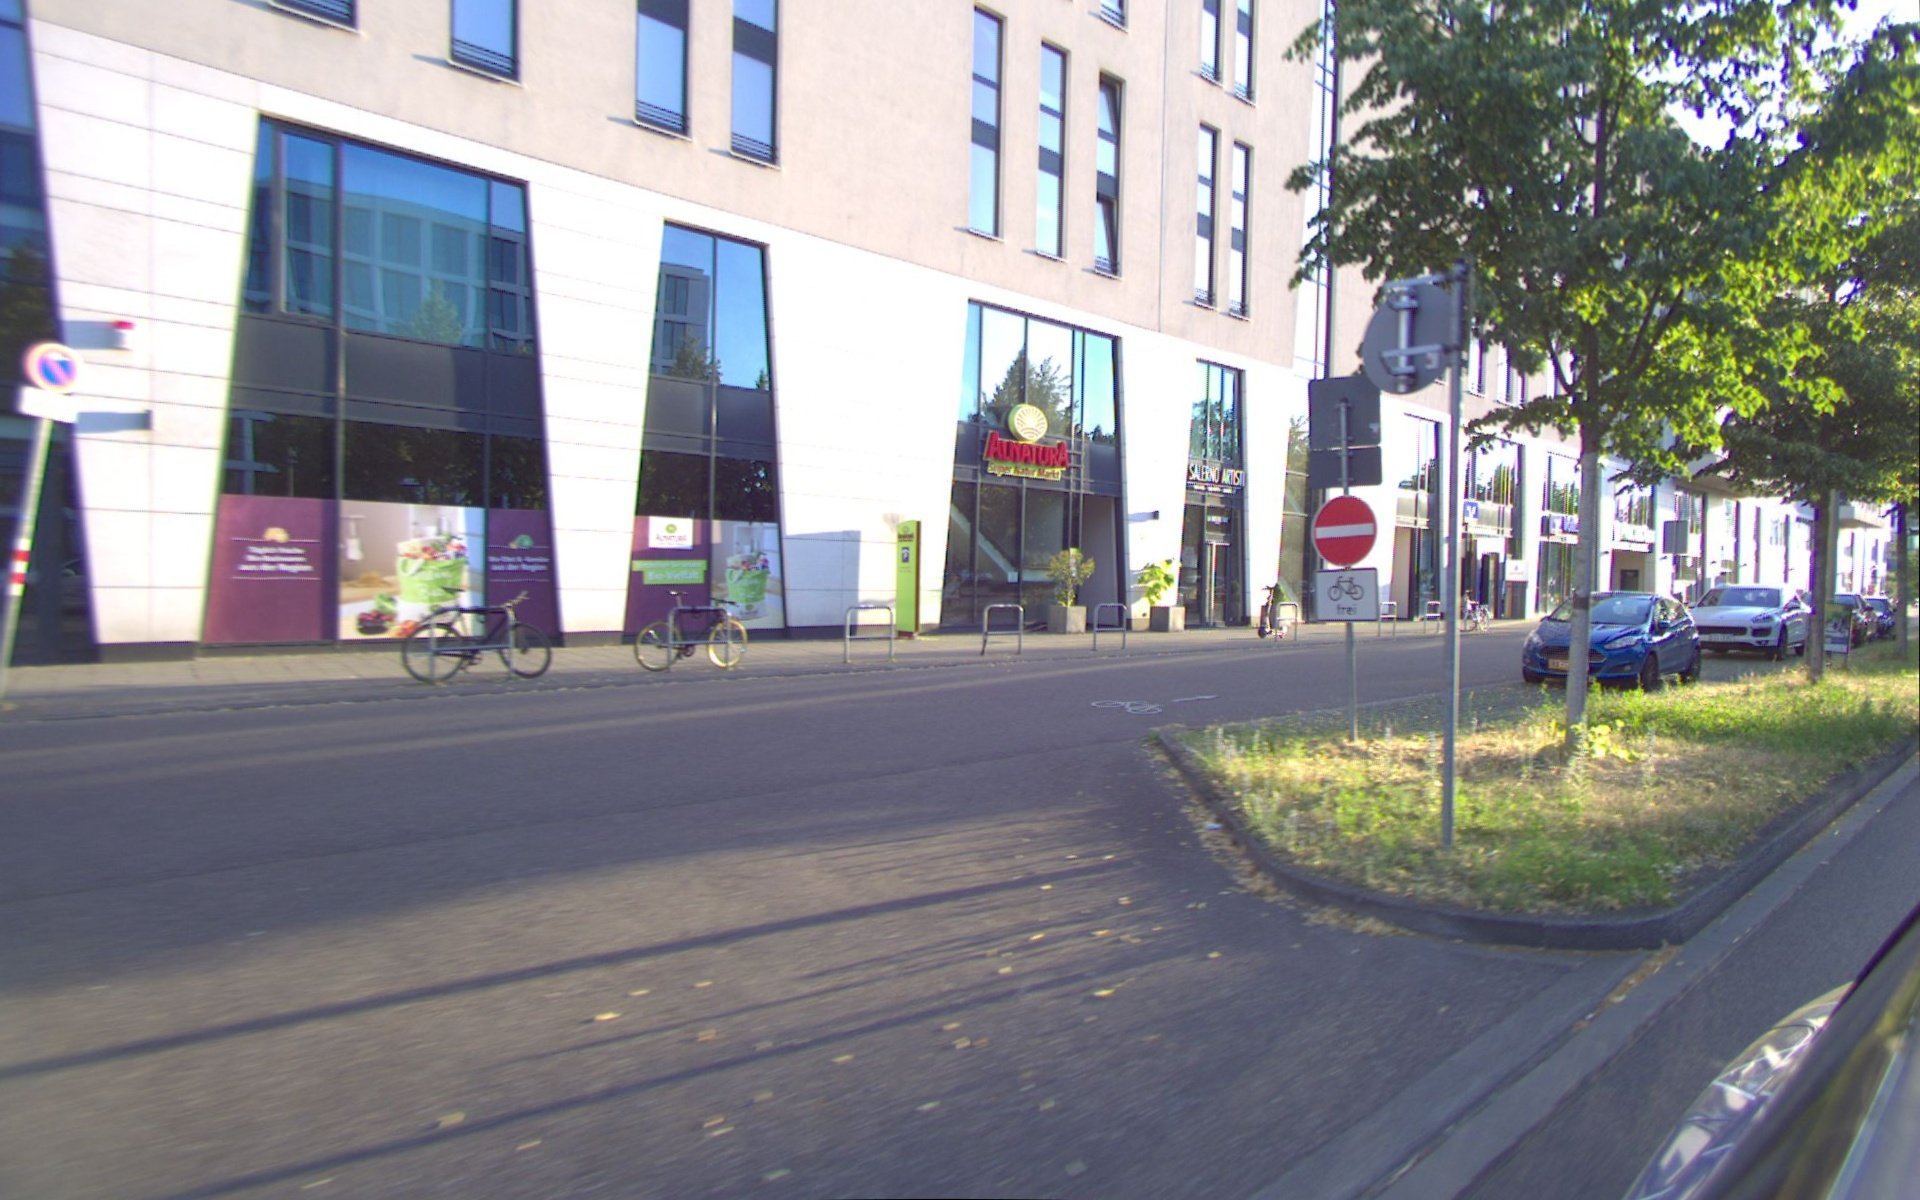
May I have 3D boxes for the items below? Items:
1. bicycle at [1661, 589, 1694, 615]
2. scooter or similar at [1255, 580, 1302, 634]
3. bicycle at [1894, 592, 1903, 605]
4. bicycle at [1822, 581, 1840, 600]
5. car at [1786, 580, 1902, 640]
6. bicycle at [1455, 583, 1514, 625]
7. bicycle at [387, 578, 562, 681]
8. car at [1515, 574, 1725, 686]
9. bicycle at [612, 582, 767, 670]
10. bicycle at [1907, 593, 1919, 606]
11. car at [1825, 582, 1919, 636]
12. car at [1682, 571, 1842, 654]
[{"bbox_3d":[30.252,0.089,42.671,2.019,1.051,0.654,0,2,-41],"label":"bicycle"},{"bbox_3d":[7.402,0.161,23.499,1.287,1.201,0.357,0,3,-40],"label":"scooter or similar"},{"bbox_3d":[79.619,-0.164,85.842,0.533,1.073,1.587,2,2,43],"label":"bicycle"},{"bbox_3d":[55.891,-0.604,64.946,1.749,1.178,0.539,0,3,-40],"label":"bicycle"},{"bbox_3d":[24.587,0.238,28.090,4.405,1.549,1.858,0,1,-41],"label":"car"},{"bbox_3d":[15.206,0.122,29.336,1.796,1.138,0.573,1,3,-29],"label":"bicycle"},{"bbox_3d":[-5.526,0.318,11.580,1.740,1.085,0.448,0,4,-37],"label":"bicycle"},{"bbox_3d":[10.564,0.396,16.083,4.194,1.549,1.727,0,1,-41],"label":"car"},{"bbox_3d":[-3.575,0.309,13.484,1.925,1.073,0.519,-1,4,-39],"label":"bicycle"},{"bbox_3d":[83.704,-0.047,88.831,2.222,1.046,0.621,0,2,-42],"label":"bicycle"},{"bbox_3d":[29.807,0.255,32.933,4.731,1.568,1.946,0,2,-43],"label":"car"},{"bbox_3d":[18.887,0.244,23.739,5.066,1.736,1.955,0,1,-40],"label":"car"}]
